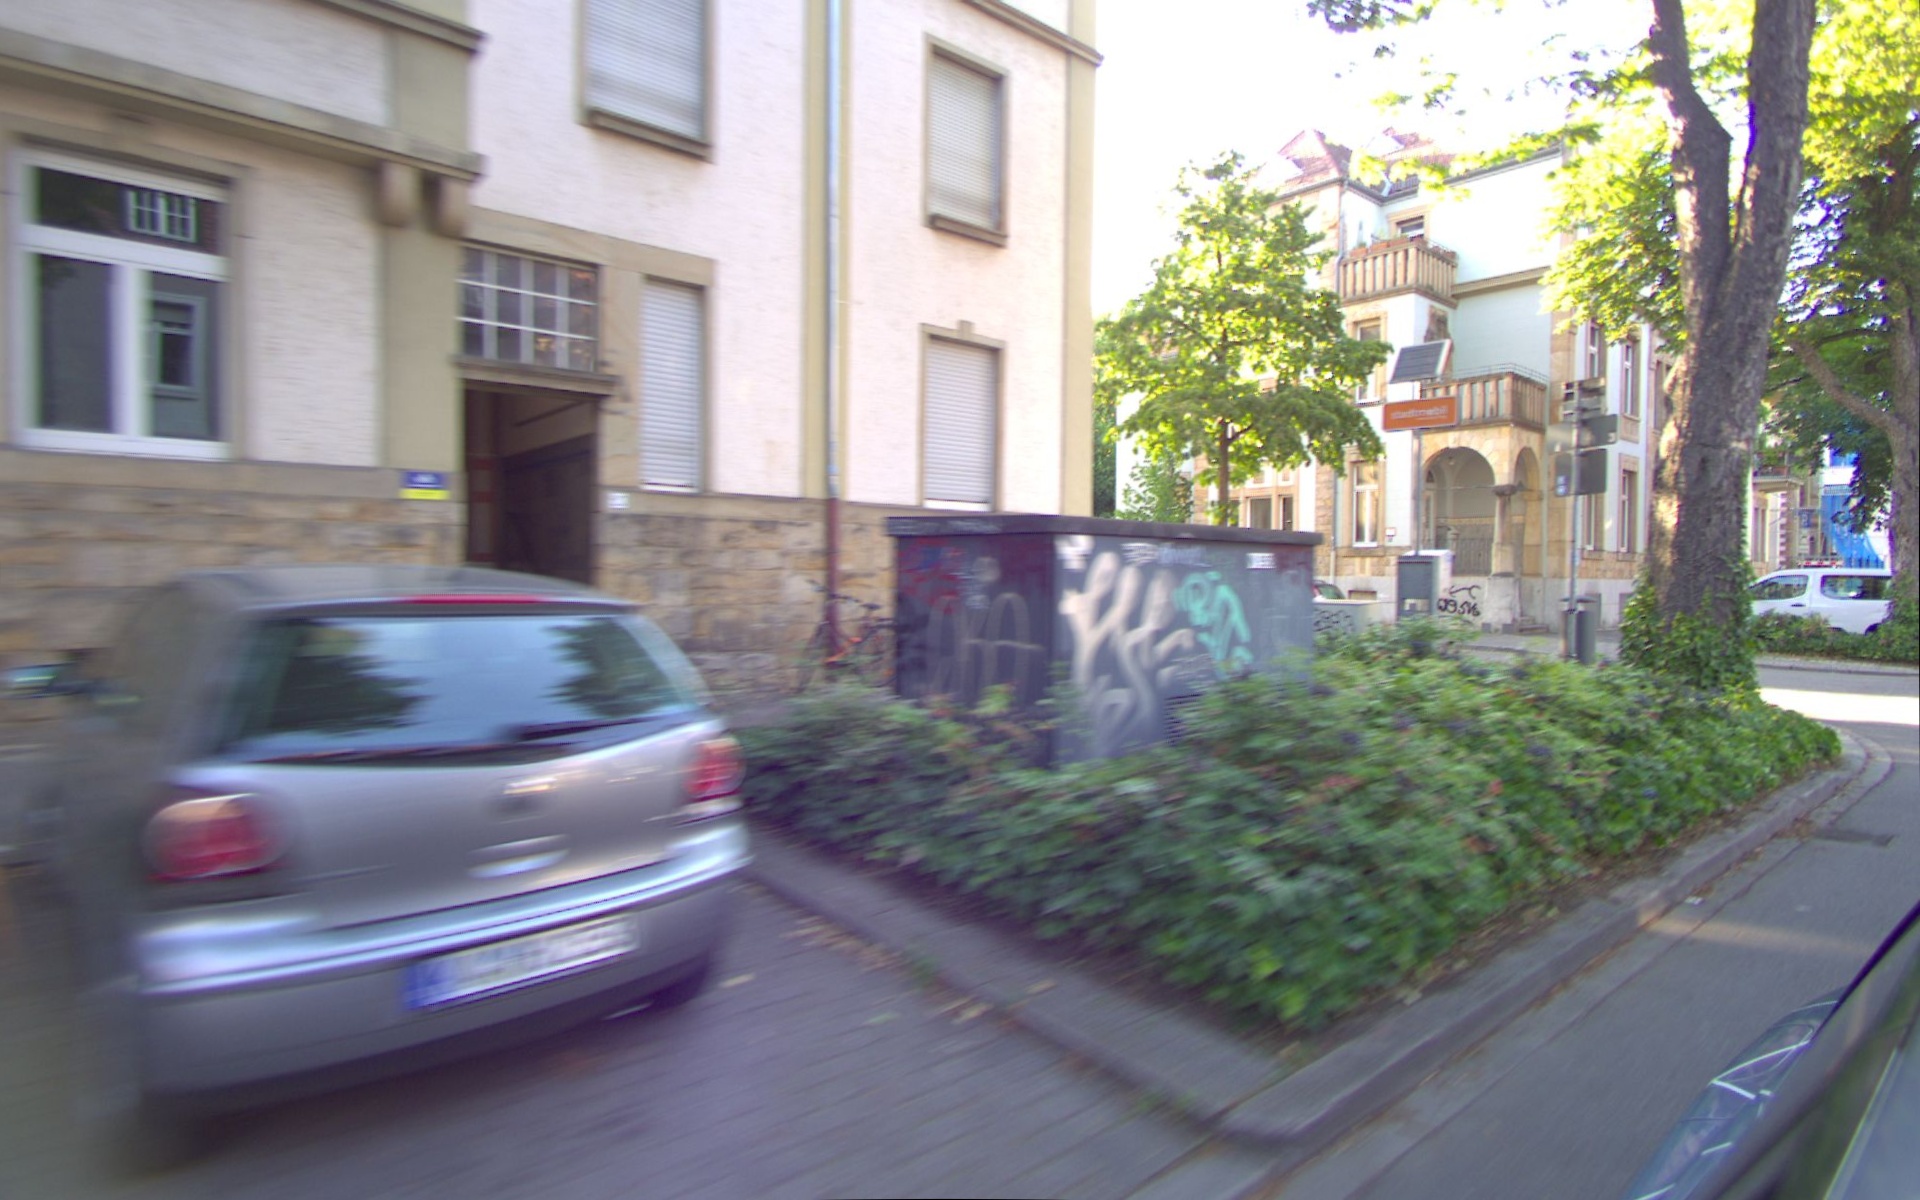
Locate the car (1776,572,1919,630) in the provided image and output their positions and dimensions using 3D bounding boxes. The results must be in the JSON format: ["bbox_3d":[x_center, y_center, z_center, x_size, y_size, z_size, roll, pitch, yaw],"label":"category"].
[{"bbox_3d":[27.648,0.013,30.601,1.796,1.553,4.324,0,3,-40],"label":"car"}]

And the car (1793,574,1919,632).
[{"bbox_3d":[26.296,0.089,28.772,1.704,1.480,3.756,0,3,-40],"label":"car"}]

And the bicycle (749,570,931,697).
[{"bbox_3d":[-1.224,0.314,10.655,1.924,1.227,0.585,0,1,-43],"label":"bicycle"}]

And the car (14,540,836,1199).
[{"bbox_3d":[-2.306,0.538,3.772,1.720,1.455,3.797,-1,3,-44],"label":"car"}]

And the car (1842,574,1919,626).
[{"bbox_3d":[30.395,0.033,31.508,1.656,1.553,4.157,0,3,-38],"label":"car"}]

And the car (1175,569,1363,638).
[{"bbox_3d":[7.469,0.049,24.761,1.626,1.494,4.165,2,1,-41],"label":"car"}]

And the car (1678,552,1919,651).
[{"bbox_3d":[18.195,-0.039,21.555,1.965,1.829,4.324,0,3,-40],"label":"car"}]
